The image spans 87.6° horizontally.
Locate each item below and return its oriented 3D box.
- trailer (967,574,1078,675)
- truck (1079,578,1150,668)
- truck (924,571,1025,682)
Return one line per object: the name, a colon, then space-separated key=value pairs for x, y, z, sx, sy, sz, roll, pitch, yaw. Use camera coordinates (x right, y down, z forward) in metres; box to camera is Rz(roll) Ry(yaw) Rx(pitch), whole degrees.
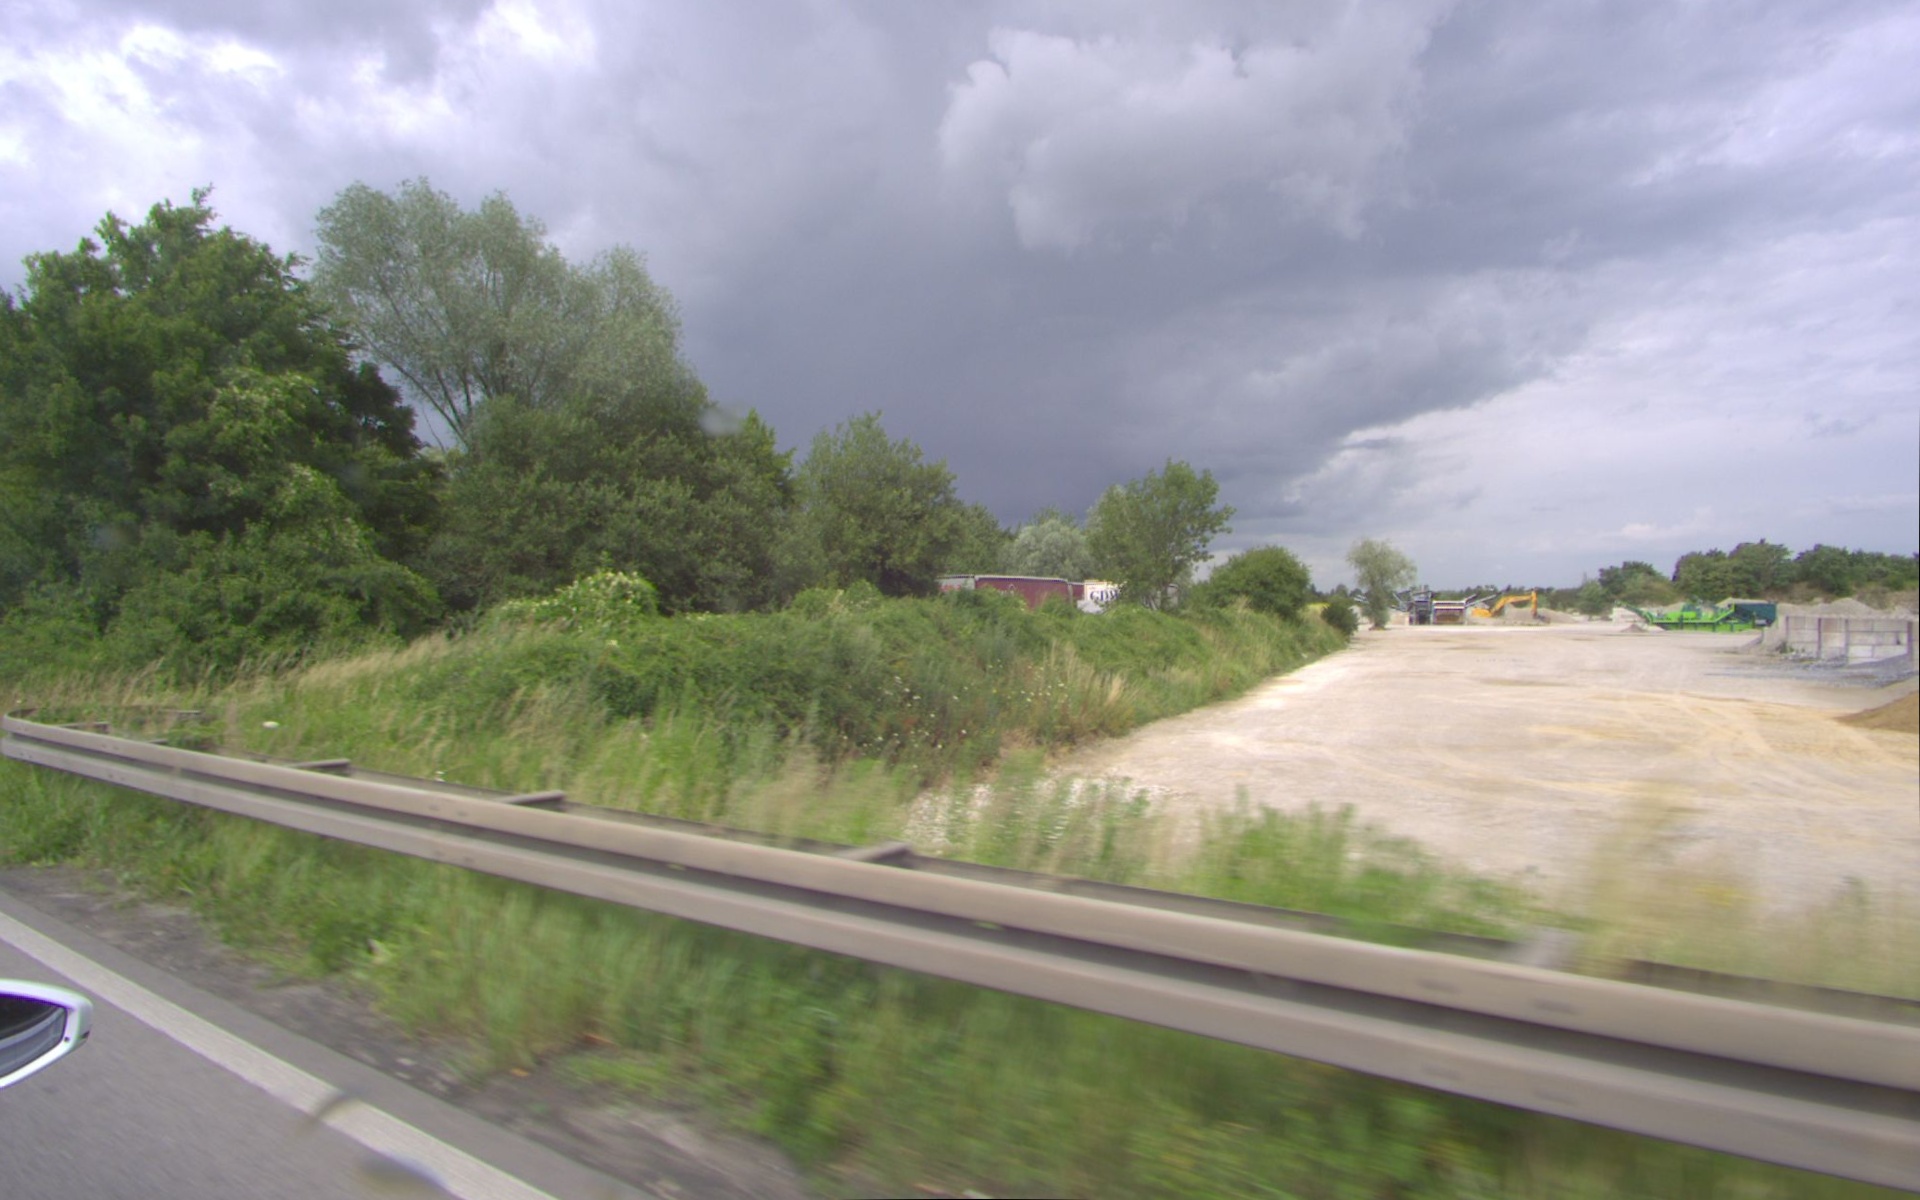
trailer: x=3.569 y=1.205 z=53.713 sx=2.622 sy=4.898 sz=10.253 roll=0 pitch=0 yaw=23
truck: x=9.049 y=1.280 z=58.100 sx=2.622 sy=4.953 sz=5.948 roll=0 pitch=0 yaw=23
truck: x=0.798 y=1.199 z=47.287 sx=2.622 sy=4.850 sz=6.145 roll=0 pitch=0 yaw=23
